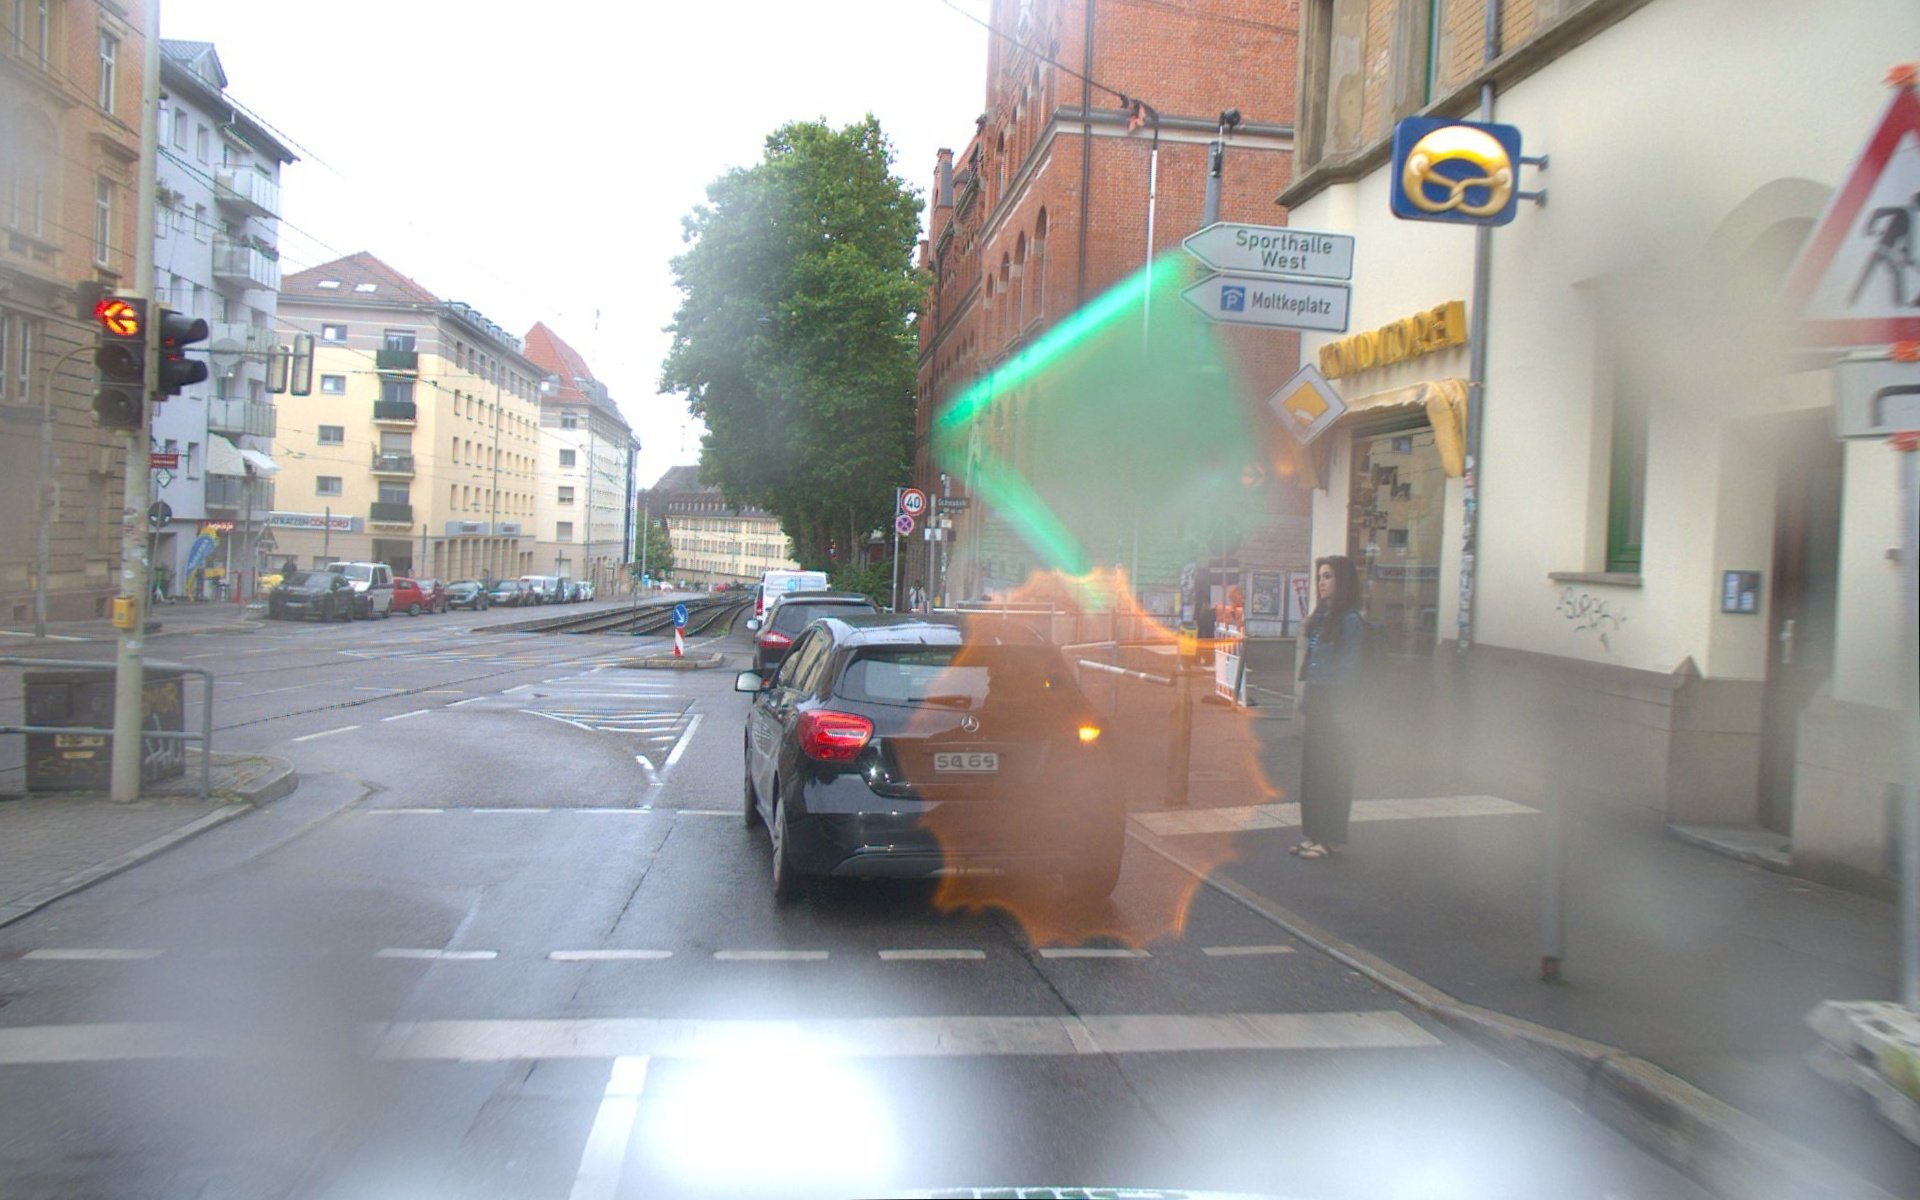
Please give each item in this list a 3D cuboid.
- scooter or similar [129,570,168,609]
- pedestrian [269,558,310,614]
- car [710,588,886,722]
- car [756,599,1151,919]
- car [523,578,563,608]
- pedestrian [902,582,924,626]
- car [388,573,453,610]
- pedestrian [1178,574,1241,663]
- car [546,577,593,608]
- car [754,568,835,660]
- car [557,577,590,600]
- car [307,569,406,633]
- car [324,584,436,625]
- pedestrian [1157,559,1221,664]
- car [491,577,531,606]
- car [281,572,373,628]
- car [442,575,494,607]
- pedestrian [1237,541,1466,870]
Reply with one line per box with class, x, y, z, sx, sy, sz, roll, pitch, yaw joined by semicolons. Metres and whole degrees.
scooter or similar;-26.360;-0.357;53.751;1.072;1.231;0.315;-2;1;-18
pedestrian;-24.438;-0.512;60.296;1.152;1.962;1.173;2;0;-14
car;-2.182;0.633;21.216;1.898;1.478;4.308;3;0;-10
car;-0.259;0.741;9.578;1.760;1.399;3.993;3;0;-7
car;-26.260;-0.438;104.274;1.831;1.747;4.454;2;0;-6
pedestrian;-1.872;0.161;65.764;0.807;1.708;0.859;2;0;-4
car;-22.759;-0.341;69.879;1.621;1.477;4.071;2;0;-4
pedestrian;4.726;0.344;31.417;0.940;1.654;1.072;0;0;-7
car;-25.989;-0.496;110.206;1.954;1.938;5.456;3;0;-3
car;-4.001;0.323;39.498;1.708;2.049;3.896;2;0;-8
car;-27.920;-0.854;119.623;1.779;1.525;4.576;3;0;-7
car;-21.710;-0.006;59.714;2.031;2.044;5.294;5;0;-7
car;-22.551;0.204;64.391;1.746;1.459;3.977;2;0;27
pedestrian;4.268;0.210;30.873;0.940;1.920;1.072;0;0;-7
car;-25.166;-0.453;92.756;1.818;1.534;4.977;2;0;-12
car;-20.478;0.004;53.666;1.700;1.680;4.357;2;0;-7
car;-23.626;-0.417;79.523;1.648;1.420;4.614;2;0;-8
pedestrian;2.199;0.566;9.422;0.997;1.750;0.929;-1;0;-5
